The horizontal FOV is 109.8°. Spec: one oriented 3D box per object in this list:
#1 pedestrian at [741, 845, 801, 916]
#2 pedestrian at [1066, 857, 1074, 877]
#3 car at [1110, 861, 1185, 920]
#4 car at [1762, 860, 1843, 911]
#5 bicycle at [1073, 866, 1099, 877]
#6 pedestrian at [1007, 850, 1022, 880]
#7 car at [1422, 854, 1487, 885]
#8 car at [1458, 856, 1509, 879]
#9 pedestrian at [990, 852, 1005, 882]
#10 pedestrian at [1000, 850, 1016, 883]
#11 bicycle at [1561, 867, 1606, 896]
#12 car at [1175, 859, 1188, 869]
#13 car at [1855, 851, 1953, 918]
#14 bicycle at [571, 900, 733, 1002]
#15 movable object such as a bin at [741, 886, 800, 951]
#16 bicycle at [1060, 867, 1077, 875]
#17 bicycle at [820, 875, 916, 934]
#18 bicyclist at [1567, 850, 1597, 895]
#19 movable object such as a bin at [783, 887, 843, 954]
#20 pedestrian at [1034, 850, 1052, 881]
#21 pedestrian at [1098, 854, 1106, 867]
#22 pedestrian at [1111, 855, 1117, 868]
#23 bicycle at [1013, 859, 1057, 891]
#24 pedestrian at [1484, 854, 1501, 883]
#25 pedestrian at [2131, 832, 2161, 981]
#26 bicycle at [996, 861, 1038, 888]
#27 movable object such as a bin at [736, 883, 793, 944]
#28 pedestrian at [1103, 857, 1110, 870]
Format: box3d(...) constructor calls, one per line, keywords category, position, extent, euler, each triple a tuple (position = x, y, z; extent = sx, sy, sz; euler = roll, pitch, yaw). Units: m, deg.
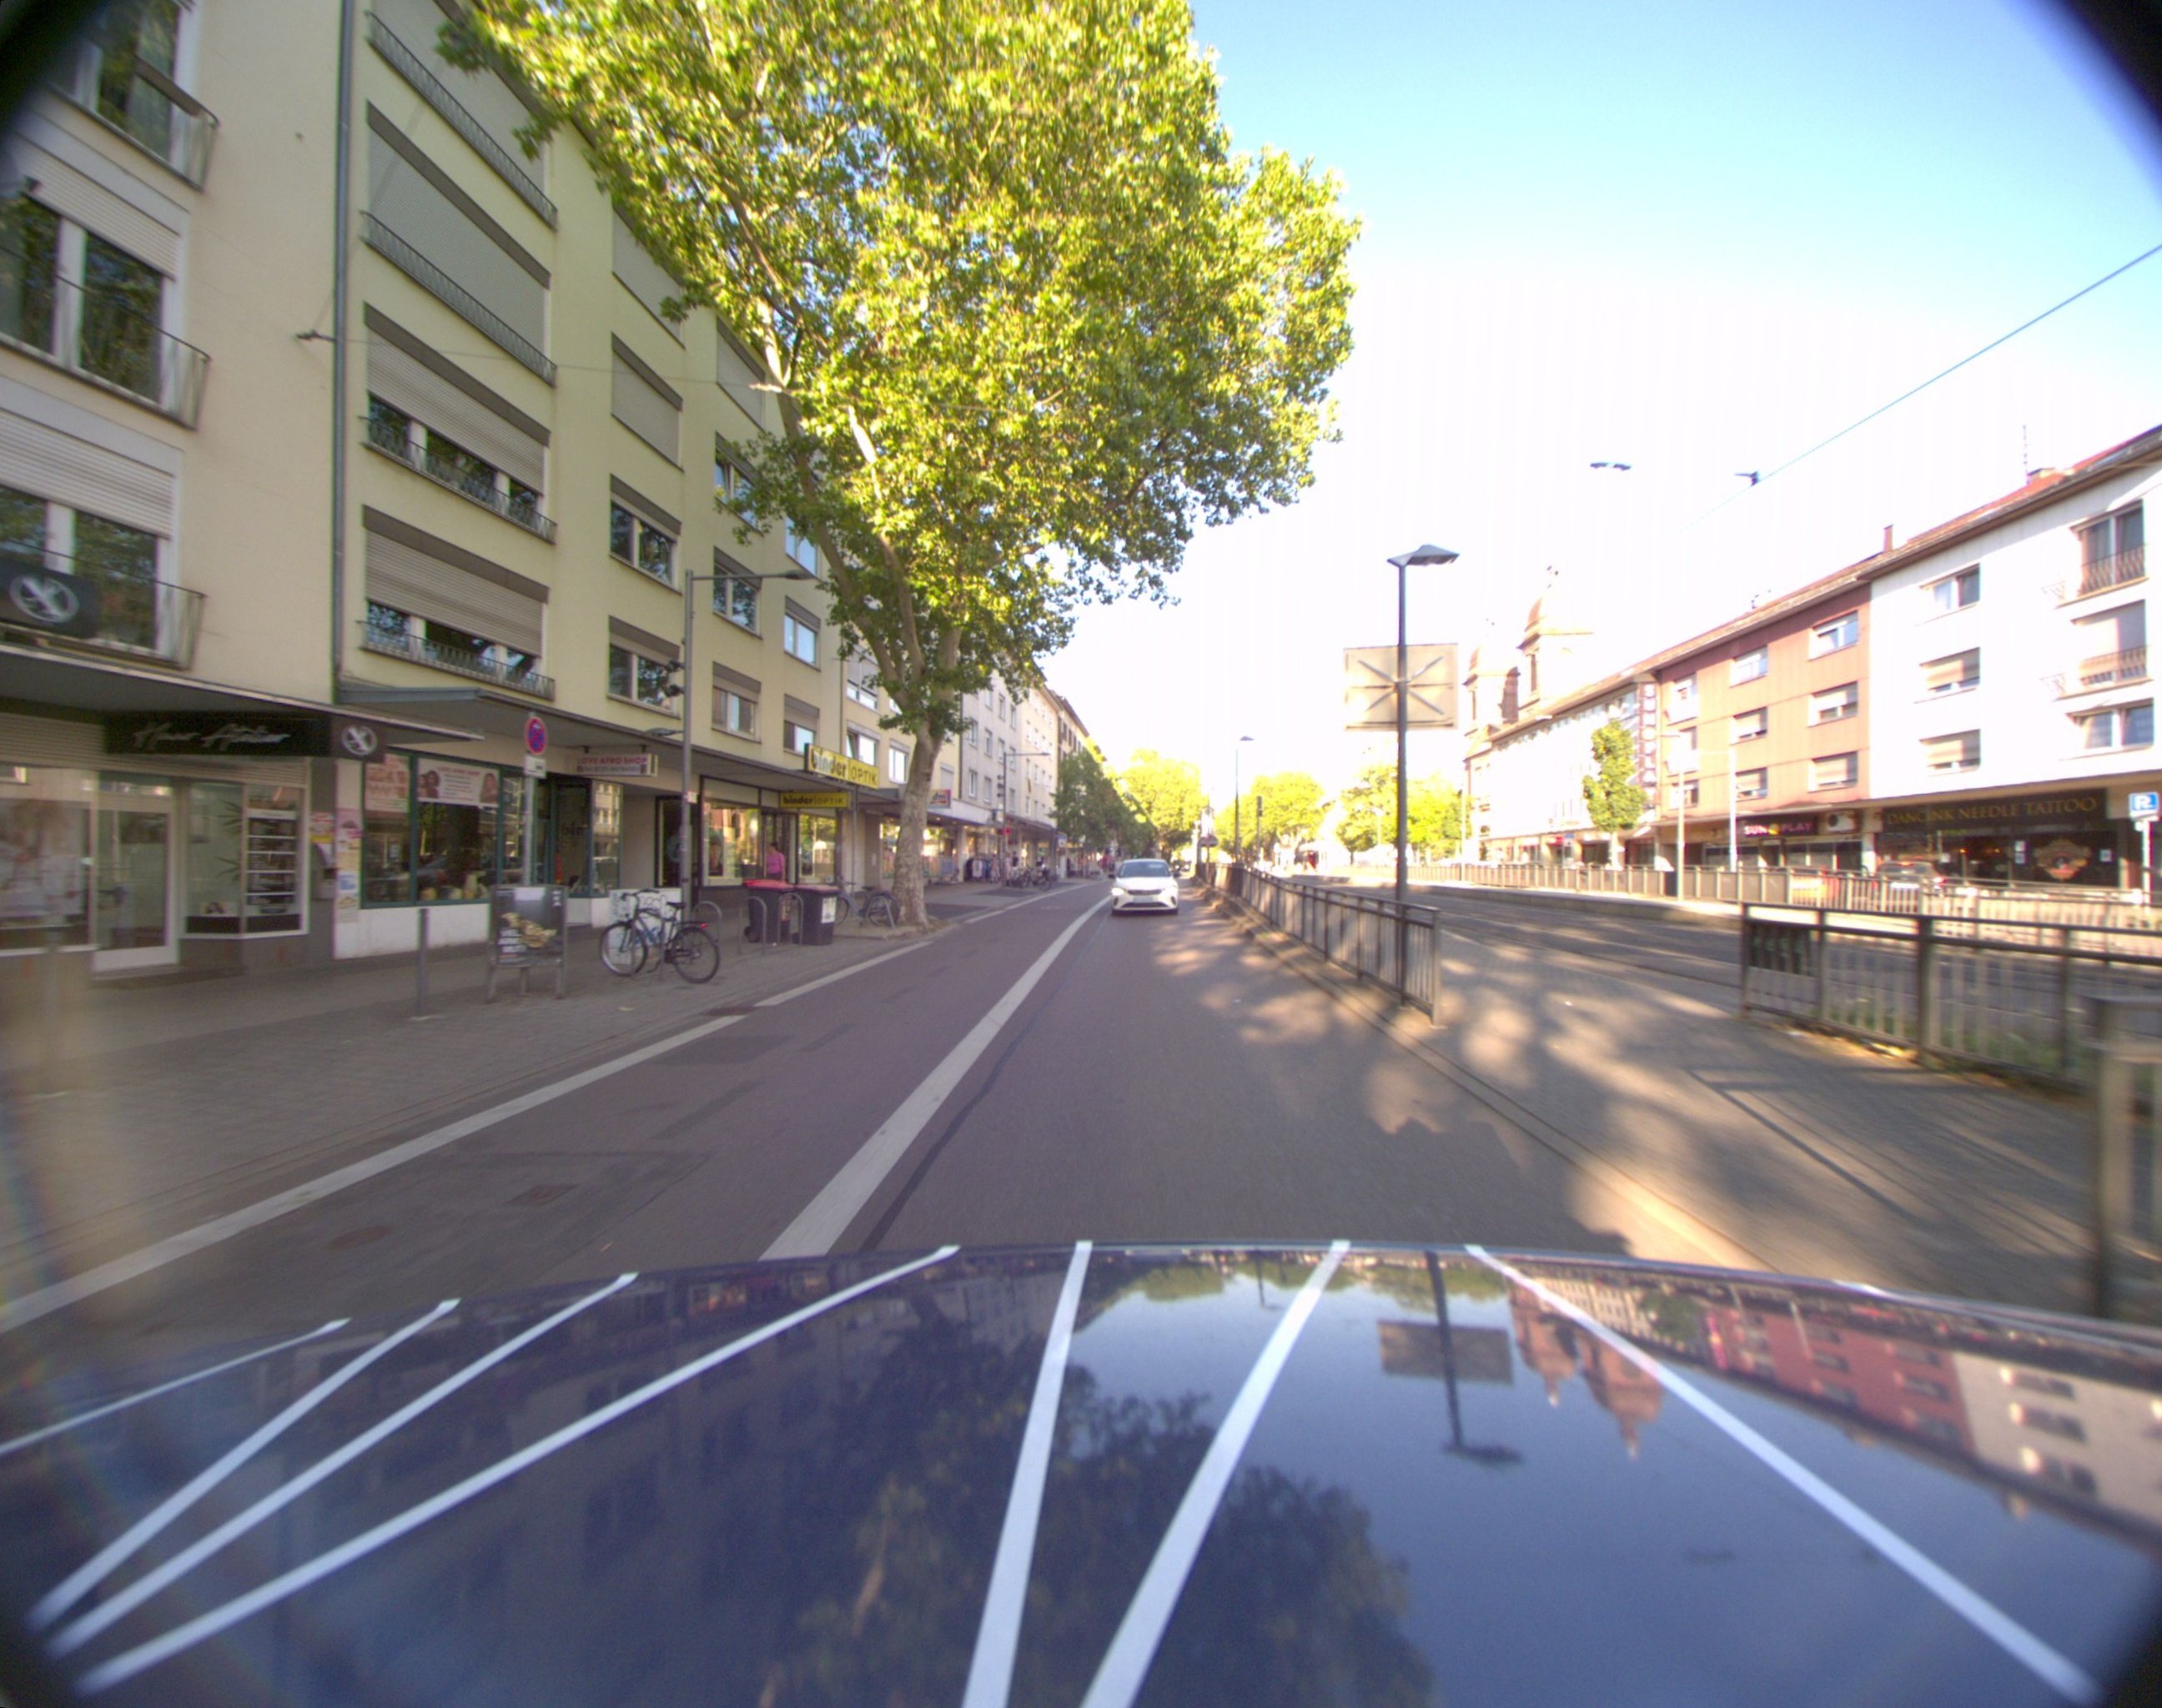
box3d(category="pedestrian", position=(-7.956, 0.660, 19.538), extent=(0.969, 1.753, 1.134), euler=(1, 1, 8))
box3d(category="pedestrian", position=(-0.850, 1.011, 60.179), extent=(0.490, 1.558, 0.649), euler=(2, 0, 9))
box3d(category="car", position=(1.801, 0.925, 20.619), extent=(1.826, 1.433, 3.829), euler=(-1, 0, 5))
box3d(category="car", position=(24.745, 1.023, 26.028), extent=(3.777, 1.482, 1.859), euler=(-3, 0, -45))
box3d(category="bicycle", position=(0.349, 1.258, 56.063), extent=(1.762, 0.773, 0.702), euler=(1, 0, -15))
box3d(category="pedestrian", position=(-3.715, 0.599, 42.557), extent=(0.569, 1.665, 1.070), euler=(2, 0, 8))
box3d(category="car", position=(21.729, 0.876, 44.407), extent=(1.998, 1.706, 4.438), euler=(0, 0, 5))
box3d(category="car", position=(28.527, 0.930, 53.821), extent=(4.007, 1.477, 1.739), euler=(-2, 0, -40))
box3d(category="pedestrian", position=(-4.260, 0.676, 38.780), extent=(0.541, 1.493, 0.896), euler=(2, 0, 7))
box3d(category="pedestrian", position=(-3.629, 0.639, 37.952), extent=(0.547, 1.619, 0.896), euler=(2, 0, 7))
box3d(category="bicycle", position=(22.416, 1.220, 33.951), extent=(0.719, 1.223, 2.279), euler=(1, 0, 6))
box3d(category="car", position=(15.969, 1.555, 120.772), extent=(1.718, 1.390, 4.001), euler=(-2, 0, 3))
box3d(category="car", position=(24.957, 0.873, 23.159), extent=(3.777, 1.789, 1.859), euler=(-3, 0, -45))
box3d(category="bicycle", position=(-5.423, 1.193, 9.614), extent=(1.909, 1.098, 0.519), euler=(2, 1, 13))
box3d(category="movable object such as a bin", position=(-5.584, 1.142, 13.669), extent=(0.723, 1.066, 0.644), euler=(3, 1, 5))
box3d(category="bicycle", position=(-0.908, 1.257, 56.245), extent=(0.840, 0.569, 1.758), euler=(1, -1, -15))
box3d(category="bicycle", position=(-4.402, 1.028, 15.768), extent=(1.721, 1.111, 0.745), euler=(0, 4, 7))
box3d(category="bicyclist", position=(22.430, 0.817, 34.060), extent=(0.765, 2.002, 0.911), euler=(1, 0, 6))
box3d(category="movable object such as a bin", position=(-4.793, 1.172, 13.628), extent=(0.723, 1.096, 0.645), euler=(4, 1, 14))
box3d(category="pedestrian", position=(-2.253, 0.665, 44.902), extent=(0.774, 1.789, 0.931), euler=(3, 0, 9))
box3d(category="pedestrian", position=(2.651, 0.827, 96.336), extent=(0.851, 1.644, 0.916), euler=(-2, 0, 7))
box3d(category="pedestrian", position=(4.410, 0.967, 101.815), extent=(0.693, 1.665, 0.659), euler=(2, 0, 8))
box3d(category="bicycle", position=(-2.088, 0.953, 34.826), extent=(1.788, 1.304, 0.695), euler=(5, 1, 19))
box3d(category="pedestrian", position=(25.238, 0.884, 46.616), extent=(0.767, 1.777, 0.726), euler=(-2, 1, 15))
box3d(category="pedestrian", position=(13.674, 0.646, 9.324), extent=(0.743, 1.838, 0.590), euler=(0, 0, 1))
box3d(category="bicycle", position=(-3.016, 0.950, 35.925), extent=(1.795, 1.118, 0.663), euler=(5, 1, -20))
box3d(category="movable object such as a bin", position=(-5.973, 1.109, 14.350), extent=(0.722, 1.066, 0.645), euler=(2, 1, 25))
box3d(category="pedestrian", position=(3.529, 1.303, 103.625), extent=(0.851, 1.644, 0.916), euler=(-2, 0, 7))
